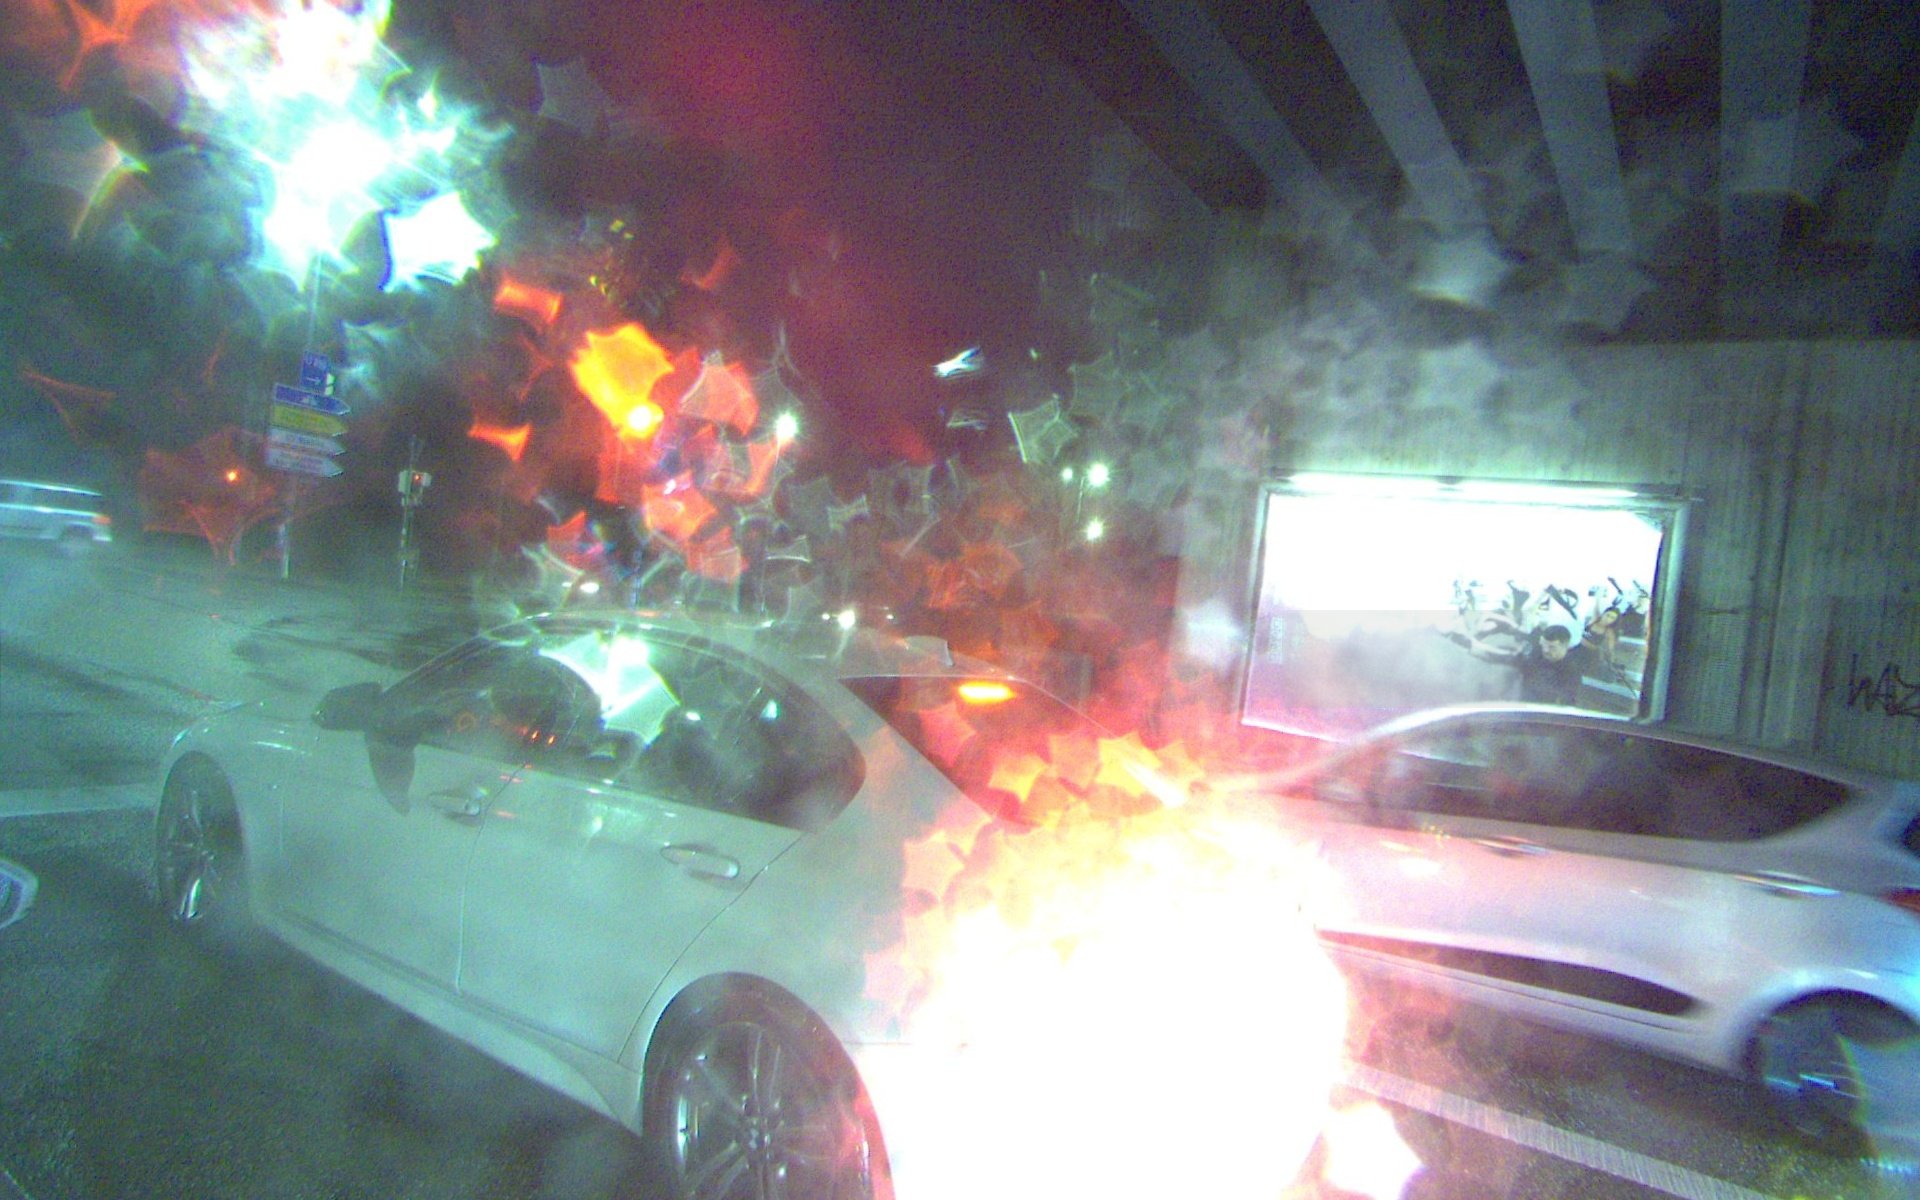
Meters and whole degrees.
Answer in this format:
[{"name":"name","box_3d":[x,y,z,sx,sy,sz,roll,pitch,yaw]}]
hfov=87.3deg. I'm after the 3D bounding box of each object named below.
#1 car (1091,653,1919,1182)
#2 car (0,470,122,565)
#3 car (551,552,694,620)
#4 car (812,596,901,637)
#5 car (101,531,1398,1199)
[{"name":"car","box_3d":[2.665,1.250,4.911,3.533,1.476,1.637,6,-2,30]},{"name":"car","box_3d":[-21.203,-1.971,21.619,1.877,1.761,4.395,6,-2,29]},{"name":"car","box_3d":[-11.959,-0.441,35.950,1.831,1.769,4.496,6,-2,36]},{"name":"car","box_3d":[-4.767,0.787,46.818,1.883,1.606,4.070,1,-4,34]},{"name":"car","box_3d":[-0.977,0.720,3.489,4.277,1.420,1.720,6,-2,32]}]
